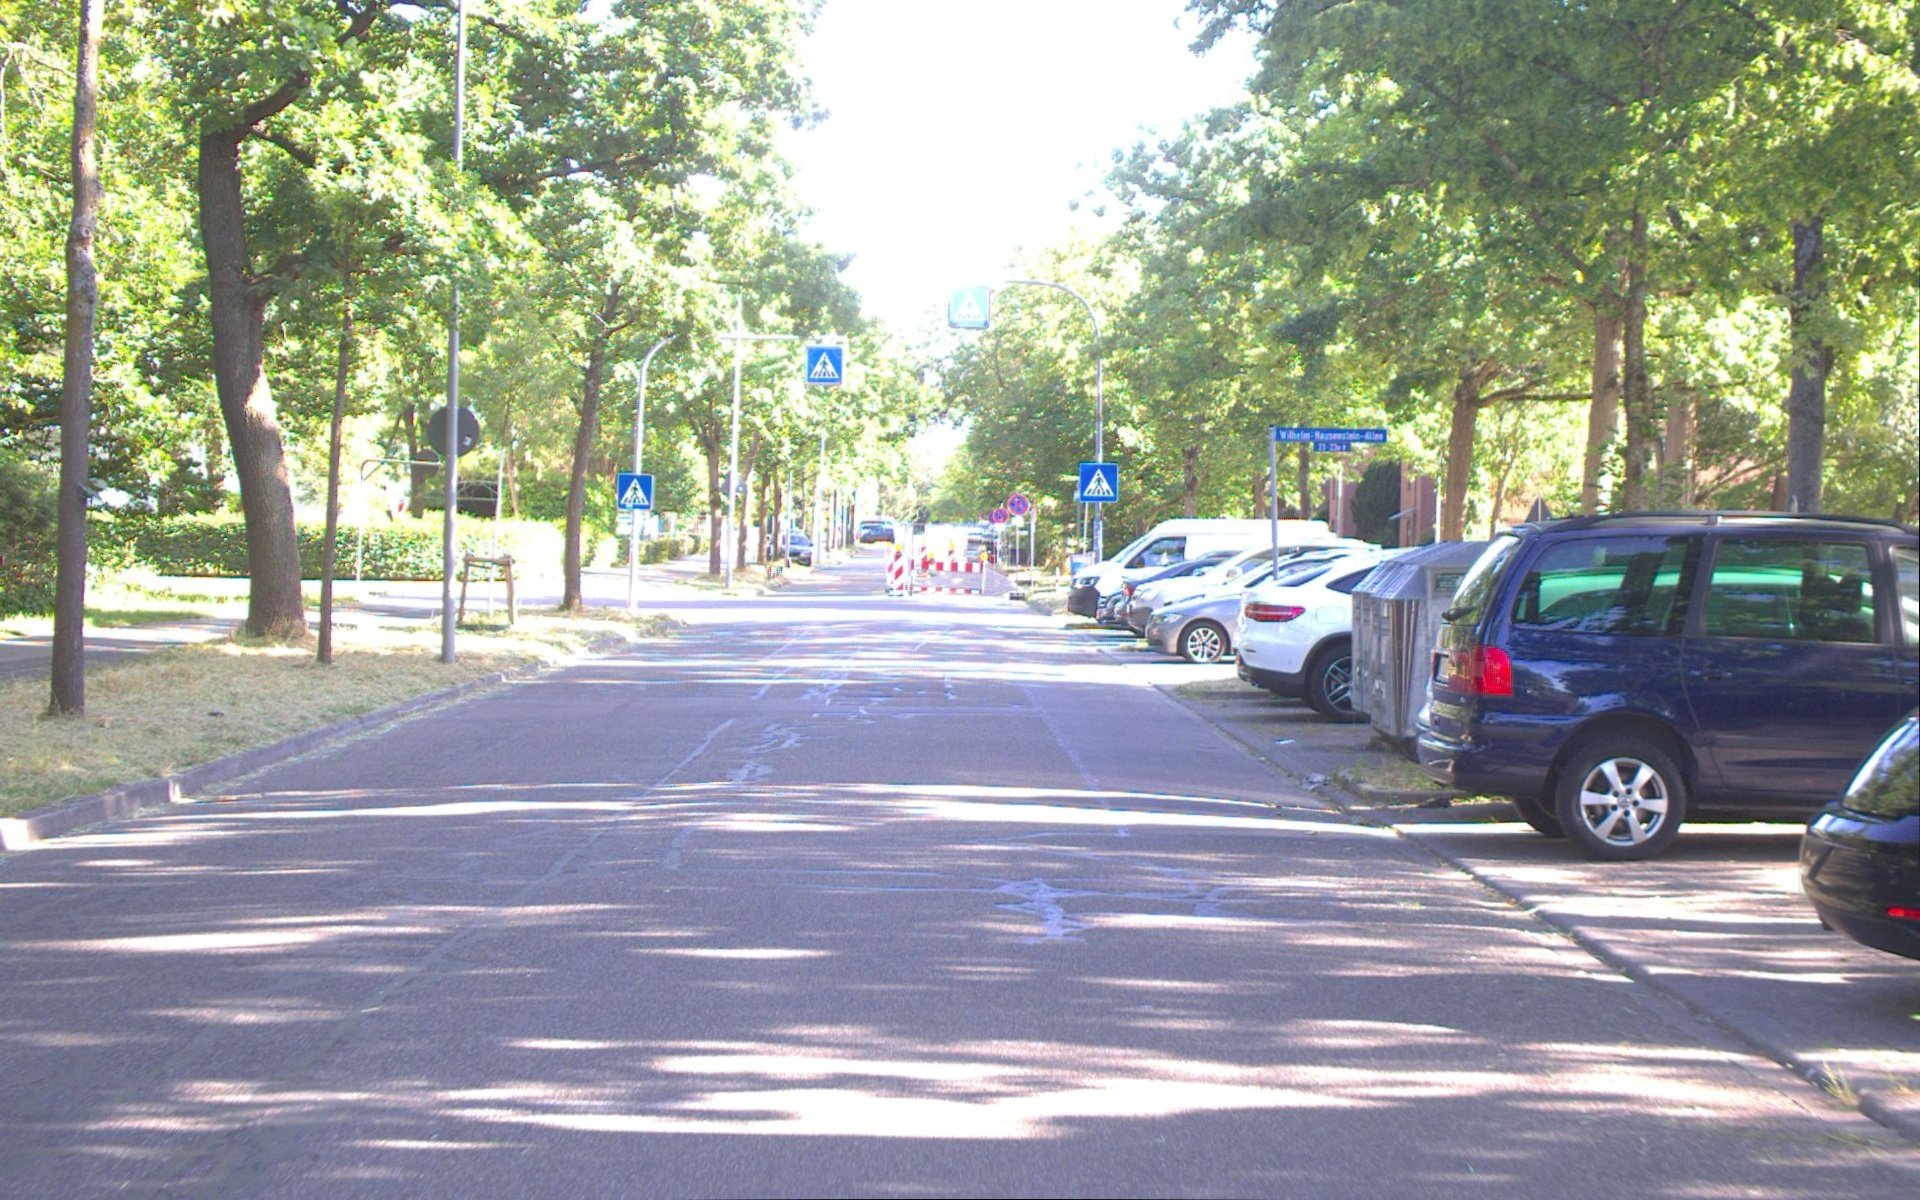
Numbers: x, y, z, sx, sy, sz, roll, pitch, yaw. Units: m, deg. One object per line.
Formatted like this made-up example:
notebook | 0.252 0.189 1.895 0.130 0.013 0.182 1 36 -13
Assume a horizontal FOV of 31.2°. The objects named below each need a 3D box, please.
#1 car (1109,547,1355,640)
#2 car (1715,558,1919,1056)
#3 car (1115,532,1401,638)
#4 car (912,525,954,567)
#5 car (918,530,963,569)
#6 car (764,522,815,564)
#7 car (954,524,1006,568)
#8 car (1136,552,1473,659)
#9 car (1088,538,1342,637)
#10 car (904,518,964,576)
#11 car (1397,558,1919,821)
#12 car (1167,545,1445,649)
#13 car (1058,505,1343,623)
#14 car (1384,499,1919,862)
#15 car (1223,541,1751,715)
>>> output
car | 4.534 -0.119 57.720 3.987 1.428 1.901 1 1 2
car | 4.877 0.634 11.524 4.245 1.514 2.078 0 1 1
car | 4.755 -0.252 55.181 4.384 1.645 1.851 0 1 -2
car | -1.369 -2.710 171.835 1.993 1.962 4.000 2 1 -1
car | -0.911 -2.336 158.019 1.993 1.711 4.000 2 1 -1
car | -7.340 -2.465 148.396 1.993 1.711 4.000 2 1 -1
car | 0.818 -2.248 142.259 1.993 1.711 4.000 2 1 -1
car | 4.716 0.062 47.579 4.445 1.385 1.911 1 1 0
car | 4.438 -0.231 60.384 4.212 1.563 1.934 2 1 -2
car | -0.925 -1.874 121.099 1.993 1.926 4.000 2 1 -1
car | 4.791 0.494 20.305 4.221 1.467 1.800 0 1 2
car | 5.050 -0.057 50.524 3.884 1.492 1.777 0 1 -1
car | 4.541 -0.690 65.488 5.187 2.098 2.083 1 1 -1
car | 4.621 0.390 18.093 4.530 1.795 1.936 0 1 0
car | 4.875 0.240 32.291 4.670 1.575 1.917 0 1 1
